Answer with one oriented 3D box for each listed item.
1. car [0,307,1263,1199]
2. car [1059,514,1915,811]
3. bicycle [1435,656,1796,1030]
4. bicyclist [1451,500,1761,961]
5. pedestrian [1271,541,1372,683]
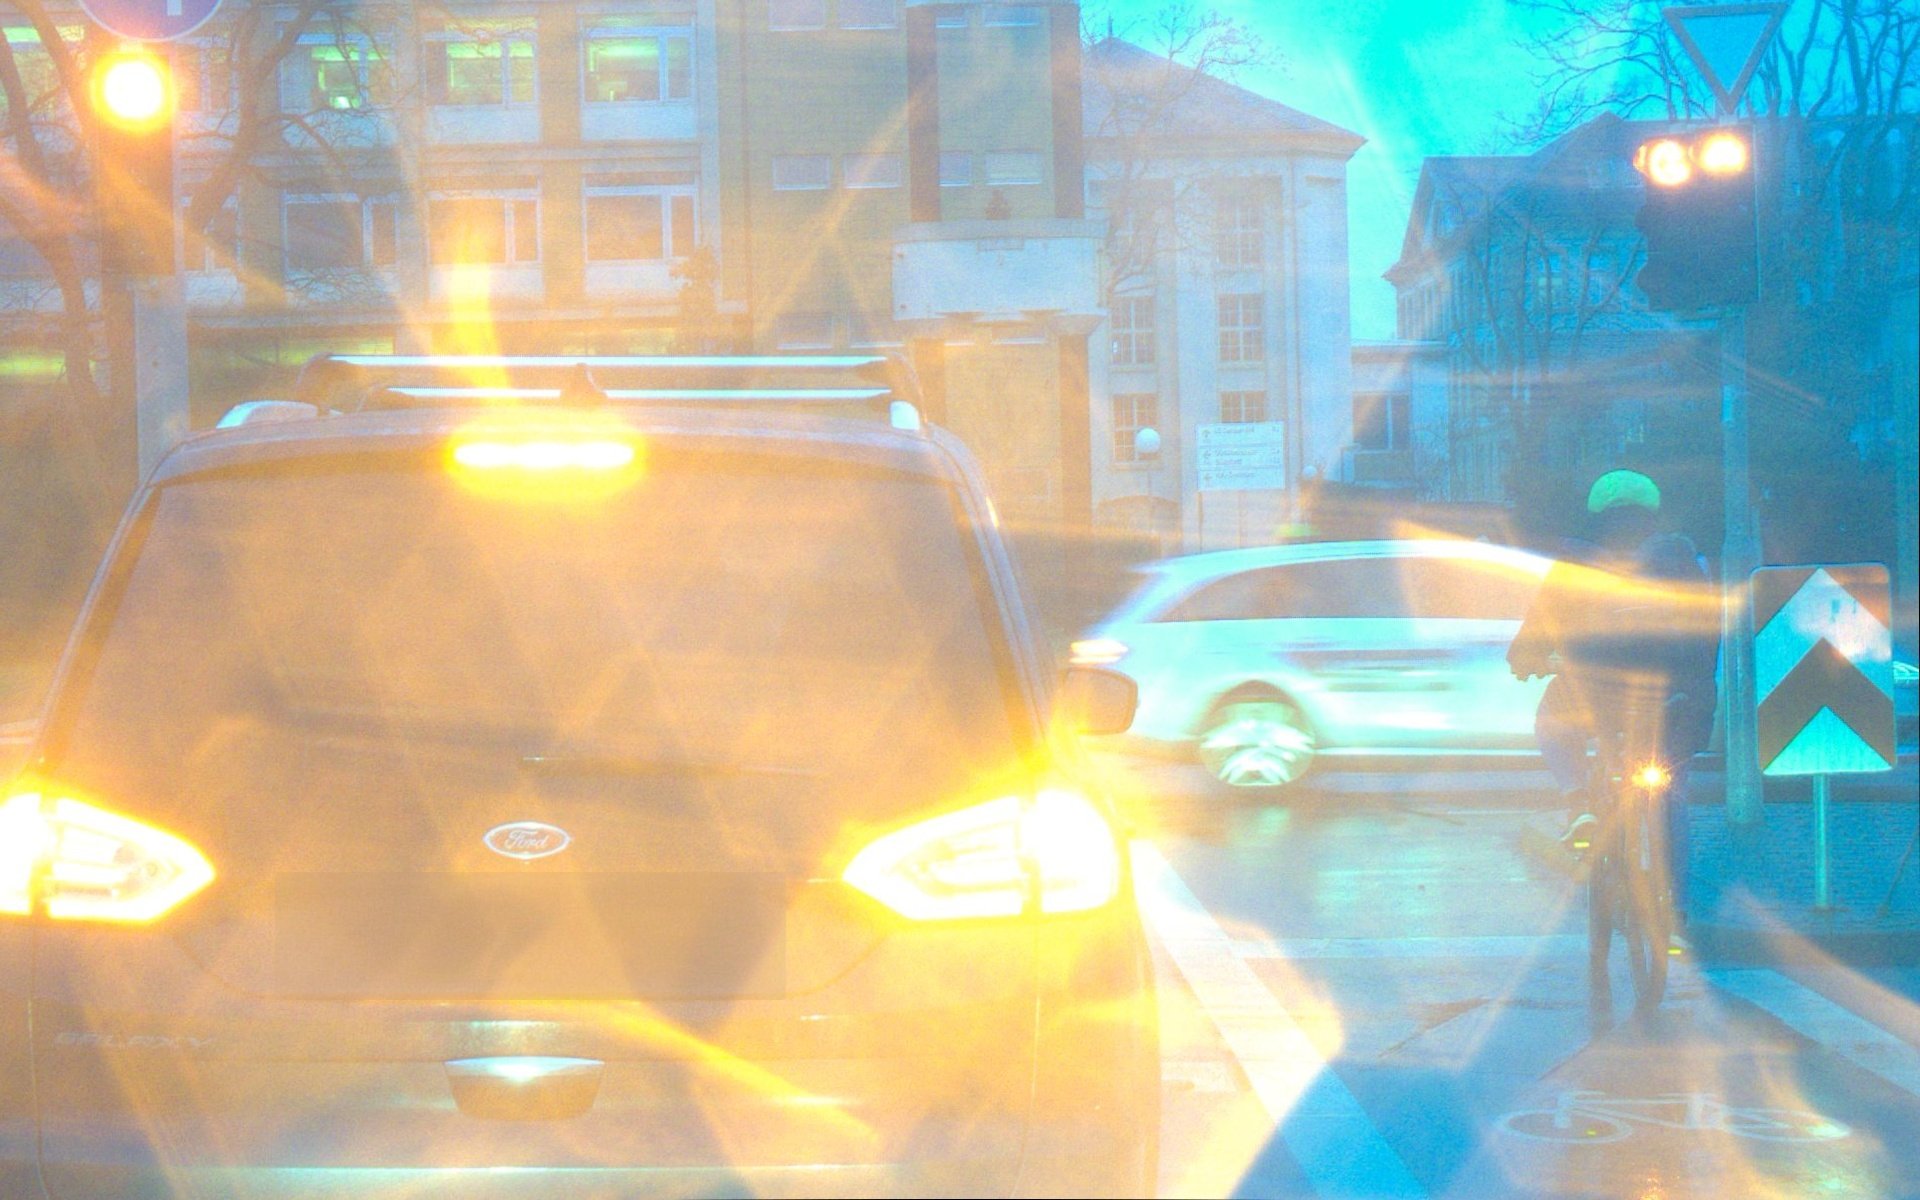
[{"bbox_3d":[-0.629,0.492,6.564,1.993,1.783,4.000,1,1,-1],"label":"car"},{"bbox_3d":[3.066,0.359,20.148,4.686,1.547,1.938,-2,0,11],"label":"car"},{"bbox_3d":[2.120,0.753,11.386,0.783,1.071,1.957,1,1,-1],"label":"bicycle"},{"bbox_3d":[2.119,0.407,11.420,0.783,1.448,1.134,1,0,-1],"label":"bicyclist"},{"bbox_3d":[4.530,0.145,42.996,1.136,1.714,0.981,-2,1,10],"label":"pedestrian"}]
